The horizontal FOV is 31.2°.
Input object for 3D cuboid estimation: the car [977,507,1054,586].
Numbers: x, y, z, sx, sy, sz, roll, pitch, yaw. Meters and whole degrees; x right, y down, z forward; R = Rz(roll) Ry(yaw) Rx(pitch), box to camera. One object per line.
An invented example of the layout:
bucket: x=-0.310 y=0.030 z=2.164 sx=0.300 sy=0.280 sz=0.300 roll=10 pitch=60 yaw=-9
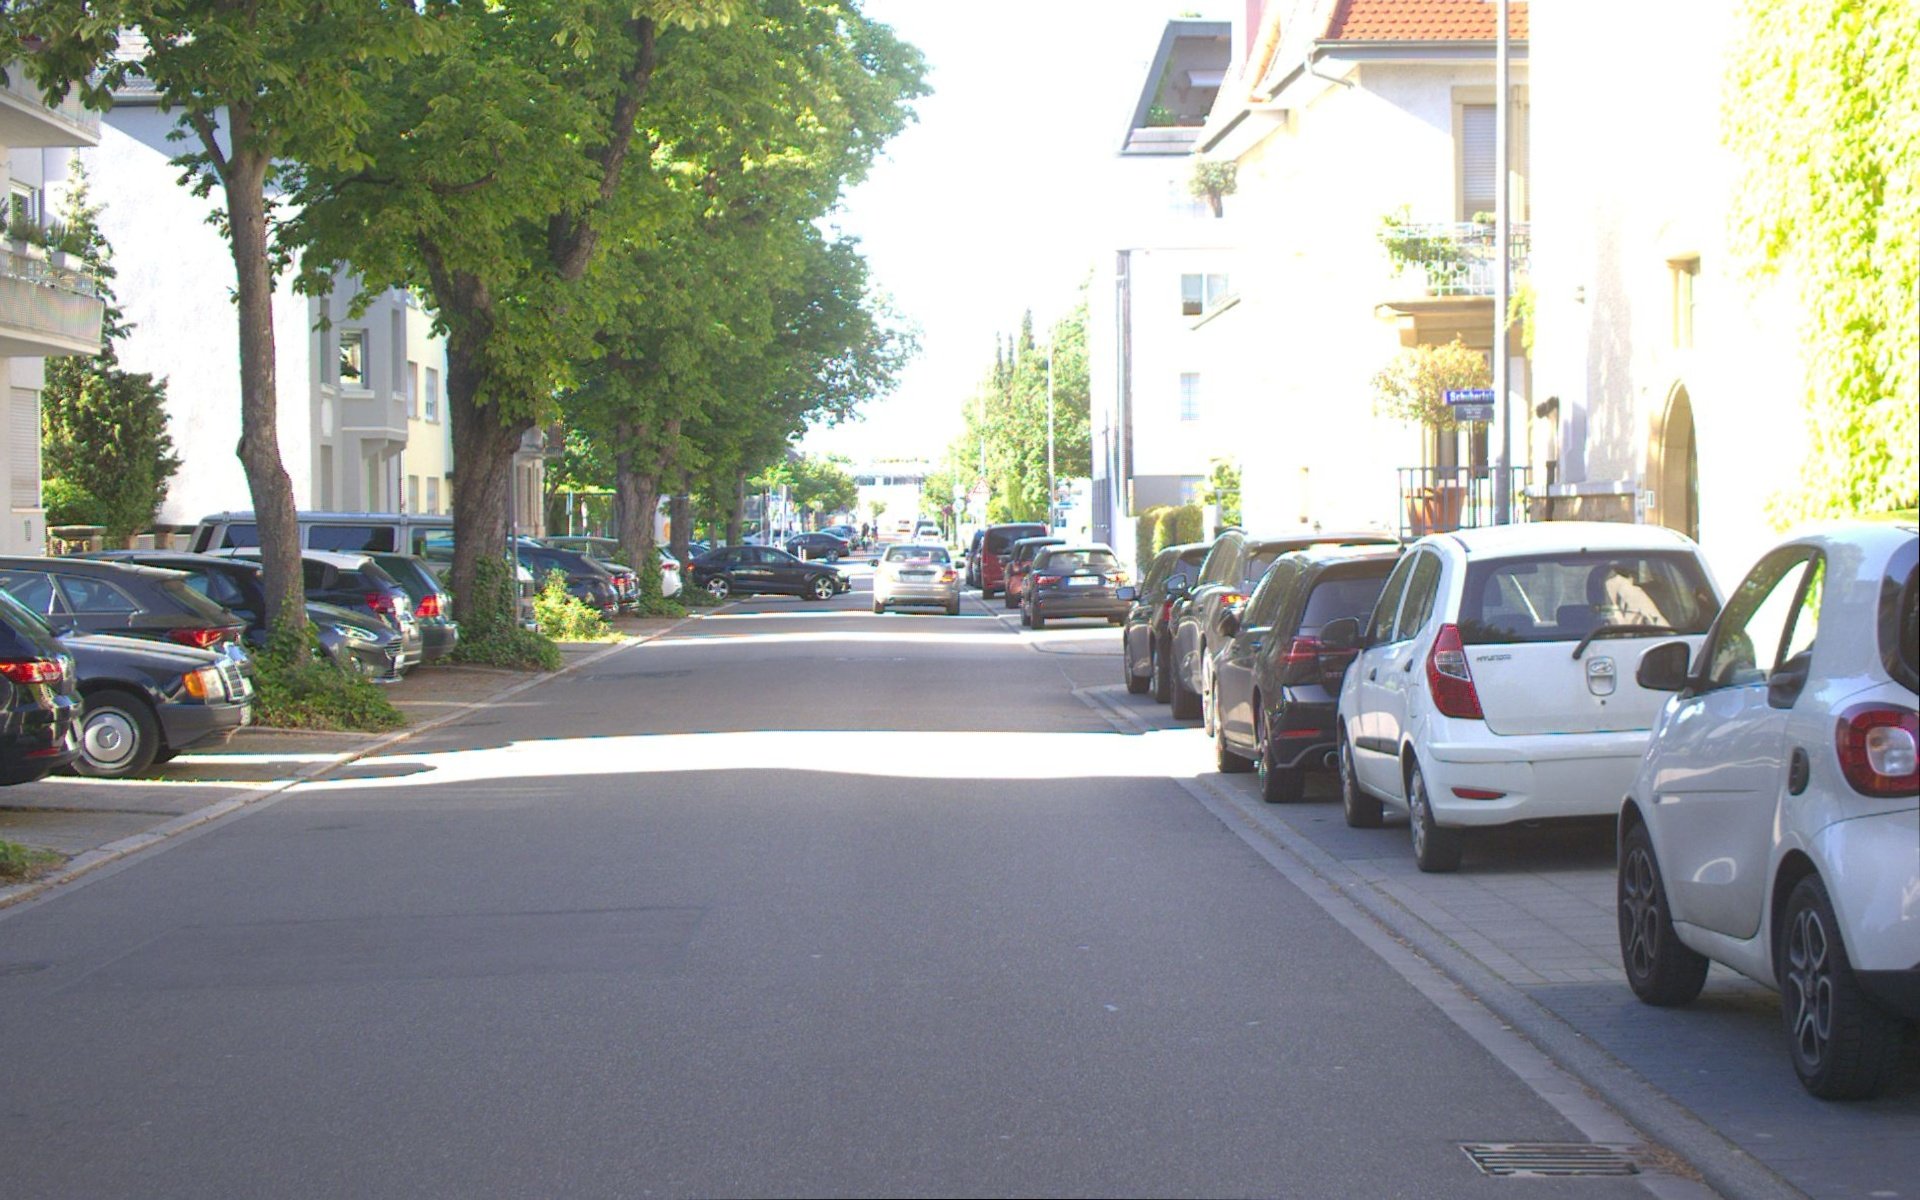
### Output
car: x=1.401 y=-1.360 z=88.211 sx=1.871 sy=1.898 sz=5.197 roll=-2 pitch=1 yaw=0

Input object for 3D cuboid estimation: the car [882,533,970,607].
car: x=-0.684 y=-0.636 z=70.815 sx=1.726 sy=1.415 sz=3.960 roll=-2 pitch=1 yaw=0

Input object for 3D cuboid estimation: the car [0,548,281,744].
car: x=-7.459 y=0.321 z=26.373 sx=4.187 sy=1.436 sz=1.713 roll=0 pitch=1 yaw=-2

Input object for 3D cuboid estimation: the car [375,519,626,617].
car: x=-8.569 y=-0.605 z=64.367 sx=4.386 sy=1.646 sz=1.823 roll=-2 pitch=3 yaw=0

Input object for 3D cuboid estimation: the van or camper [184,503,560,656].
van or camper: x=-7.485 y=-0.275 z=44.127 sx=4.497 sy=1.908 sz=1.964 roll=0 pitch=1 yaw=-1

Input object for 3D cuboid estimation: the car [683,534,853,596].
car: x=-4.832 y=-0.869 z=86.323 sx=4.188 sy=1.443 sz=1.713 roll=1 pitch=0 yaw=-4

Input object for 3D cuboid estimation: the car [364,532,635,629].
car: x=-7.457 y=-0.327 z=55.962 sx=4.186 sy=1.493 sz=1.861 roll=-1 pitch=1 yaw=-2

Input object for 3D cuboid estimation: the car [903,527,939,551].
car: x=-2.296 y=-3.547 z=199.787 sx=1.722 sy=1.325 sz=4.001 roll=-2 pitch=1 yaw=-5

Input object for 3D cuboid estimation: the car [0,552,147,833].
car: x=-6.658 y=0.538 z=19.410 sx=3.869 sy=1.509 sz=1.833 roll=-2 pitch=1 yaw=-9

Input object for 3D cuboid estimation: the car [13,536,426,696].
car: x=-7.214 y=0.140 z=33.738 sx=3.644 sy=1.458 sz=1.710 roll=1 pitch=1 yaw=1

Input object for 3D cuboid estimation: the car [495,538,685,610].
car: x=-8.171 y=-0.588 z=76.213 sx=4.022 sy=1.479 sz=1.807 roll=1 pitch=1 yaw=-1

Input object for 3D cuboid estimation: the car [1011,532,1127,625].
car: x=1.841 y=-0.396 z=59.164 sx=1.619 sy=1.435 sz=3.935 roll=-3 pitch=2 yaw=-2

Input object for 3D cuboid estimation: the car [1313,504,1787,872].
car: x=2.734 y=0.374 z=16.605 sx=1.575 sy=1.544 sz=3.469 roll=-2 pitch=0 yaw=-1

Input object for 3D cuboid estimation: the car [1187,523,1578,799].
car: x=2.445 y=0.324 z=20.864 sx=1.709 sy=1.431 sz=4.193 roll=-3 pitch=0 yaw=-1

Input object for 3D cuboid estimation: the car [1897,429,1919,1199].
car: x=2.817 y=0.533 z=4.781 sx=1.778 sy=1.690 sz=4.320 roll=1 pitch=0 yaw=-1

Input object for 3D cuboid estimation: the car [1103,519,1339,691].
car: x=2.453 y=0.037 z=33.208 sx=1.662 sy=1.515 sz=4.002 roll=-2 pitch=0 yaw=-4

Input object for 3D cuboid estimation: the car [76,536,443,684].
car: x=-7.345 y=0.086 z=36.258 sx=3.478 sy=1.453 sz=1.797 roll=1 pitch=1 yaw=0

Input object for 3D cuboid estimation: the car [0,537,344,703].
car: x=-7.432 y=0.167 z=31.228 sx=3.477 sy=1.416 sz=1.710 roll=1 pitch=0 yaw=-6

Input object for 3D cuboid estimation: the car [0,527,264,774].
car: x=-7.189 y=0.365 z=23.694 sx=4.588 sy=1.601 sz=1.833 roll=-2 pitch=1 yaw=-9

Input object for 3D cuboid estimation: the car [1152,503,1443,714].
car: x=2.641 y=0.054 z=27.830 sx=1.791 sy=1.515 sz=4.367 roll=-2 pitch=0 yaw=-1

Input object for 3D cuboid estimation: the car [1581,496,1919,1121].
car: x=2.905 y=0.516 z=9.952 sx=1.625 sy=1.544 sz=2.869 roll=1 pitch=0 yaw=-1

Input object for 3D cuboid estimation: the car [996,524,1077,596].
car: x=1.672 y=-0.891 z=75.702 sx=1.592 sy=1.475 sz=3.247 roll=-3 pitch=1 yaw=-1

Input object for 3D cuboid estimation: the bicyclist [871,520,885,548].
bicyclist: x=-4.672 y=-3.756 z=195.361 sx=0.721 sy=1.531 sz=1.137 roll=-2 pitch=1 yaw=-1

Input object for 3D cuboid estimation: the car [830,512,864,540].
car: x=-7.223 y=-4.742 z=220.255 sx=1.787 sy=1.527 sz=4.000 roll=7 pitch=2 yaw=1

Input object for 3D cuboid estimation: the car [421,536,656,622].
car: x=-7.477 y=-0.388 z=61.189 sx=3.987 sy=1.463 sz=1.697 roll=-1 pitch=1 yaw=-1

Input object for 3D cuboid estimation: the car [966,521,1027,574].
car: x=1.092 y=-1.607 z=104.860 sx=1.737 sy=1.526 sz=4.179 roll=-2 pitch=1 yaw=-1

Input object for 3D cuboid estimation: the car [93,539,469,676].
car: x=-7.579 y=0.071 z=38.647 sx=3.921 sy=1.410 sz=1.716 roll=1 pitch=2 yaw=-3
